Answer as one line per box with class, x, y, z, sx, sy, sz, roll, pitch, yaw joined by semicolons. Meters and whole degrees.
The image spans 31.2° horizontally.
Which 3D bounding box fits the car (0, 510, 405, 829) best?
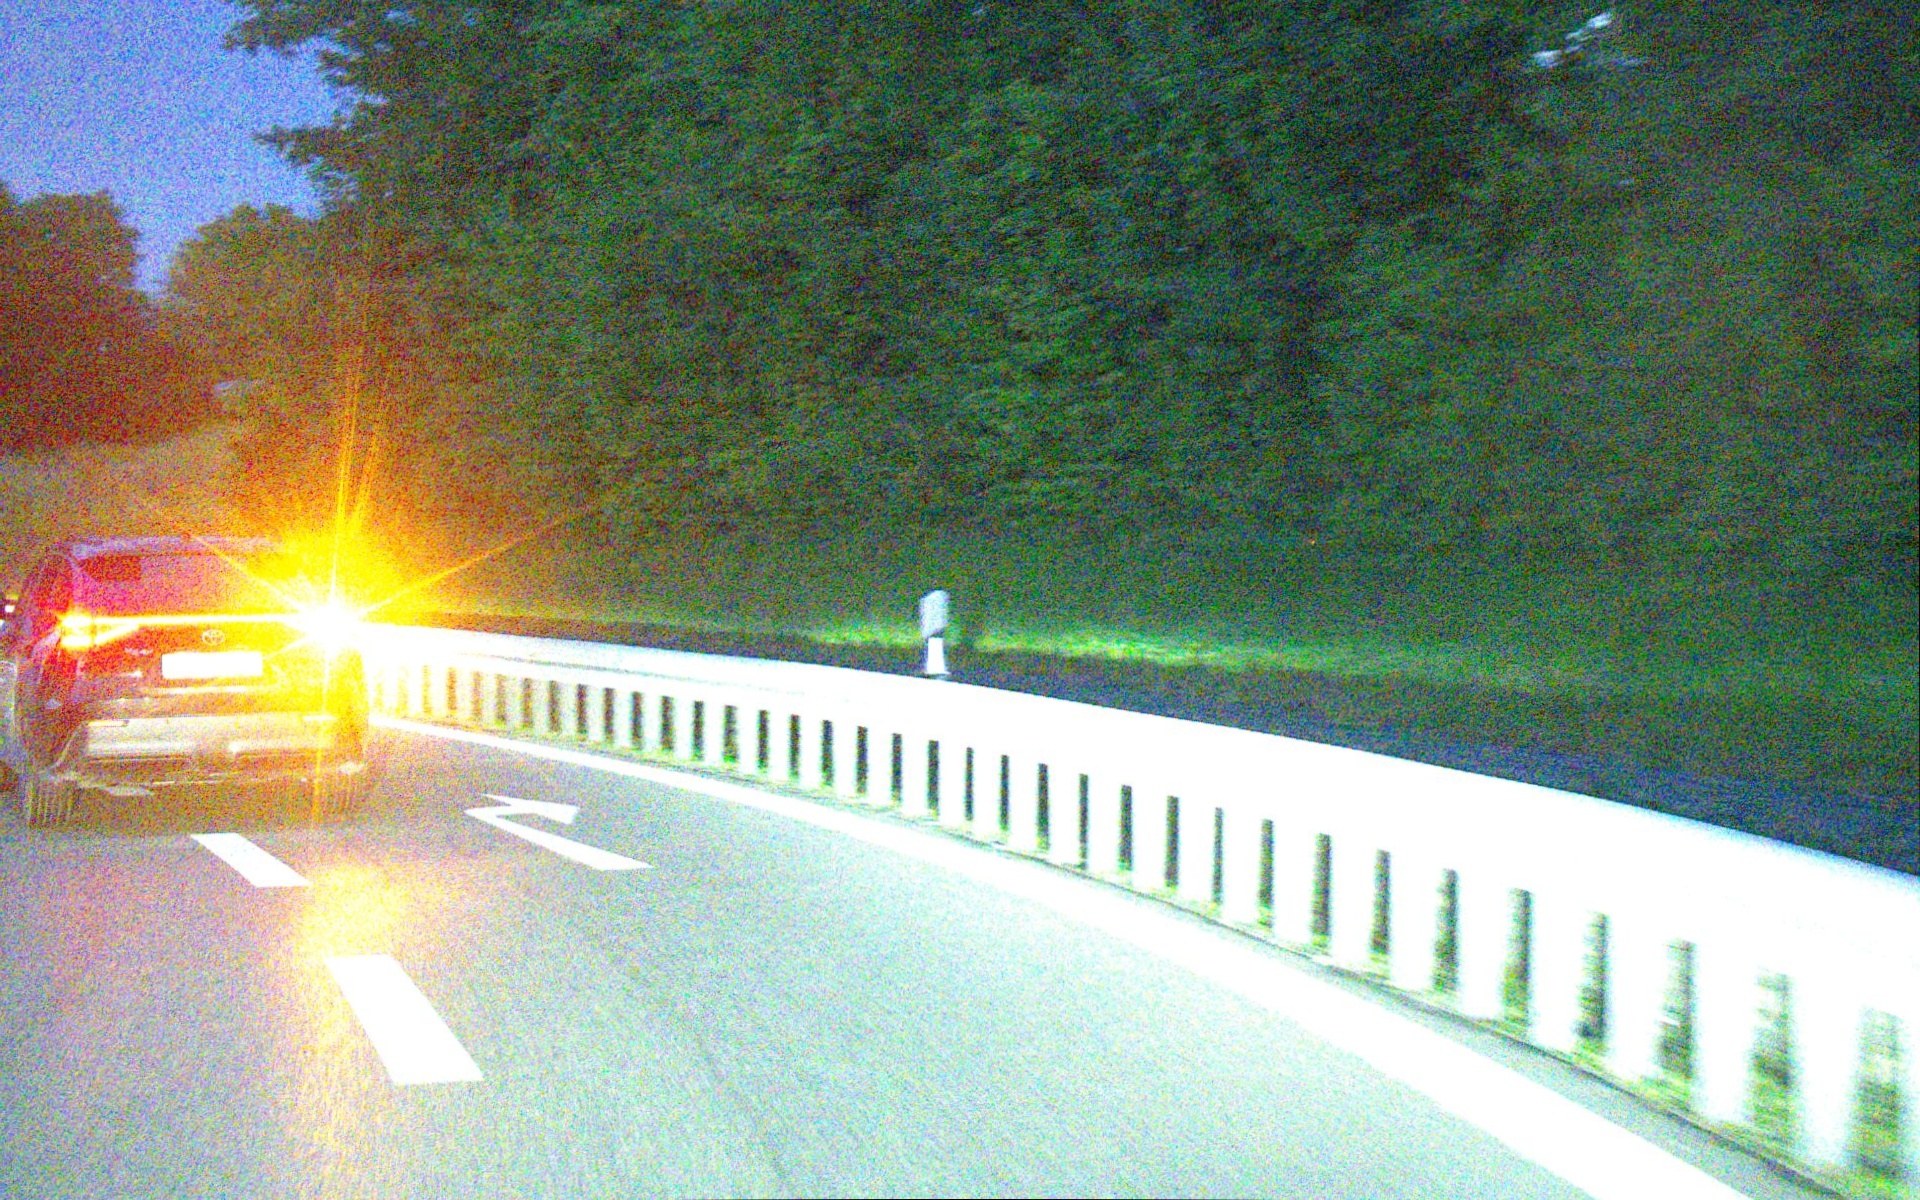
car;-4.662;0.350;20.159;1.993;1.653;4.316;1;0;-20
